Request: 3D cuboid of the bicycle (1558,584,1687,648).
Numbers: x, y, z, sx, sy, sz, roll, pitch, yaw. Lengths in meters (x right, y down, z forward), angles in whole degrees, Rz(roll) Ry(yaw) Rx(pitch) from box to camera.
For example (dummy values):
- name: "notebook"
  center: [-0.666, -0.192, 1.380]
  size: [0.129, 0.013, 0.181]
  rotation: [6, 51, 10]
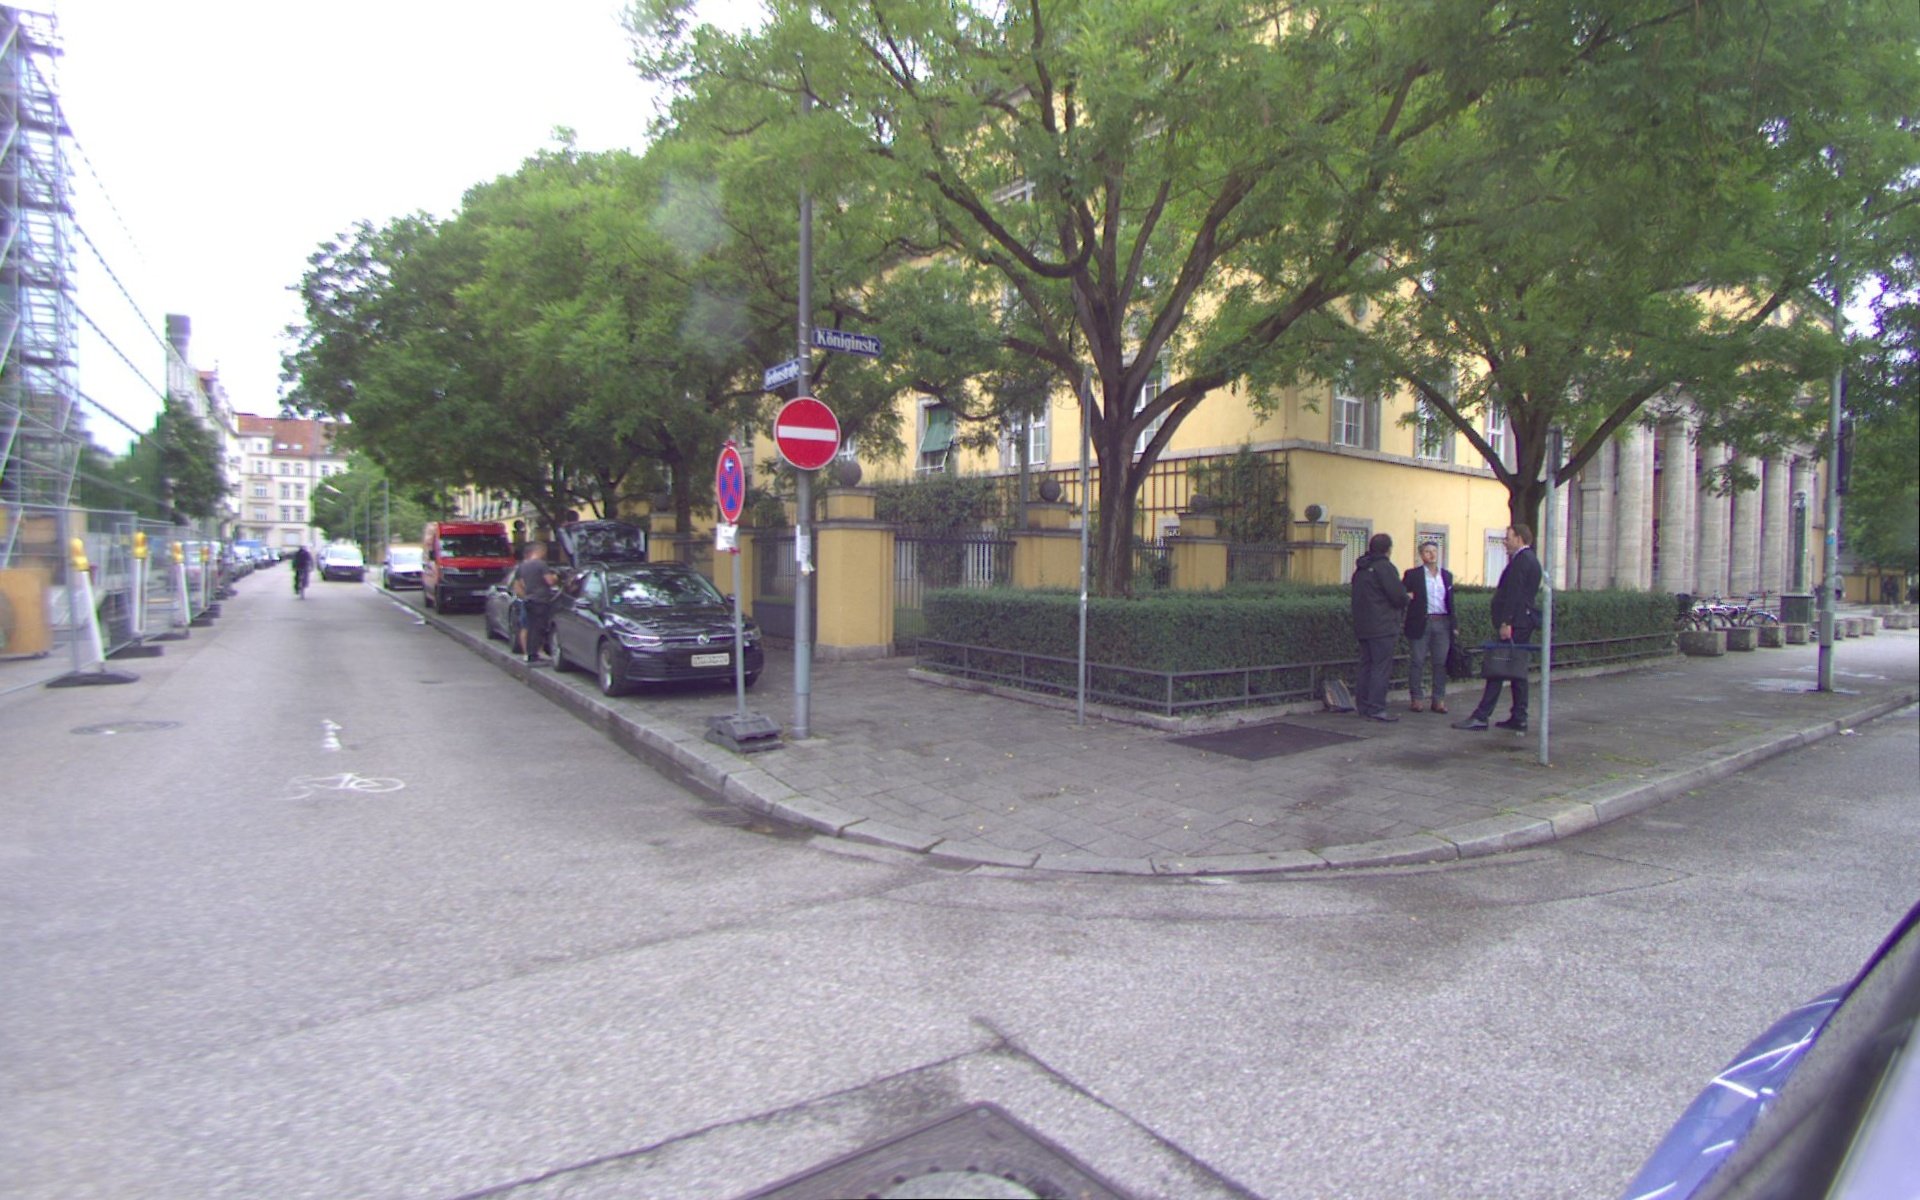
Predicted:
- name: "bicycle"
  center: [13.029, 0.288, 19.967]
  size: [0.463, 1.127, 2.036]
  rotation: [0, 3, -41]

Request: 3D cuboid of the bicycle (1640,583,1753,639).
- name: "bicycle"
  center: [16.413, 0.221, 22.605]
  size: [0.462, 1.127, 1.938]
  rotation: [0, 3, -36]

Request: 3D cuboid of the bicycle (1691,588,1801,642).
- name: "bicycle"
  center: [18.313, 0.331, 23.629]
  size: [0.463, 1.127, 1.936]
  rotation: [0, 3, -40]

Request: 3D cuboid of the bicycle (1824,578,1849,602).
- name: "bicycle"
  center: [48.080, -0.559, 55.511]
  size: [2.126, 1.323, 0.601]
  rotation: [-1, 3, -39]

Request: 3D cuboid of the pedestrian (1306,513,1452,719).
- name: "pedestrian"
  center: [4.088, 0.139, 9.942]
  size: [1.035, 1.931, 0.745]
  rotation: [1, 2, -3]

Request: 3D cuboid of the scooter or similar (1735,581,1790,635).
- name: "scooter or similar"
  center: [19.327, 0.172, 24.390]
  size: [0.528, 1.237, 1.011]
  rotation: [2, 2, 6]

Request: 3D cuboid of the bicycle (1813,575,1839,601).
- name: "bicycle"
  center: [46.278, -0.653, 54.058]
  size: [2.223, 1.323, 0.601]
  rotation: [-1, 3, -39]

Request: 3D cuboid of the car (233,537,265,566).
- name: "car"
  center: [-59.573, -4.040, 84.853]
  size: [1.961, 2.143, 4.525]
  rotation: [-1, 0, -33]

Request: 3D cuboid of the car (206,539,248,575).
- name: "car"
  center: [-48.072, -2.764, 66.437]
  size: [1.961, 2.143, 4.525]
  rotation: [-1, 0, -33]

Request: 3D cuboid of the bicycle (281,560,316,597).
- name: "bicycle"
  center: [-22.122, -0.712, 33.887]
  size: [0.747, 1.157, 2.265]
  rotation: [-1, 0, -27]

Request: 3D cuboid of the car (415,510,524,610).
- name: "car"
  center: [-13.798, -1.128, 28.268]
  size: [2.112, 2.492, 5.701]
  rotation: [-1, 3, -32]

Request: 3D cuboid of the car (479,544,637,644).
- name: "car"
  center: [-7.056, -0.186, 17.510]
  size: [1.833, 1.504, 4.009]
  rotation: [-1, 3, -32]

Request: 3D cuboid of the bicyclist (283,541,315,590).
- name: "bicyclist"
  center: [-22.091, -1.149, 33.833]
  size: [0.794, 1.595, 0.978]
  rotation: [0, 0, -28]

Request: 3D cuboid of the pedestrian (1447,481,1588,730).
- name: "pedestrian"
  center: [5.164, 0.030, 9.371]
  size: [1.037, 2.161, 0.744]
  rotation: [0, 2, -39]

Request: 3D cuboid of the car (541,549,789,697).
- name: "car"
  center: [-3.820, 0.137, 12.578]
  size: [1.833, 1.504, 4.222]
  rotation: [-1, 3, -33]

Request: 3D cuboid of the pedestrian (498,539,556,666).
- name: "pedestrian"
  center: [-6.211, 0.015, 14.515]
  size: [0.559, 1.773, 0.581]
  rotation: [3, 3, 42]

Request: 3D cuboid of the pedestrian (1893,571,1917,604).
- name: "pedestrian"
  center: [52.372, -0.710, 56.073]
  size: [1.037, 1.767, 0.790]
  rotation: [0, 3, -39]

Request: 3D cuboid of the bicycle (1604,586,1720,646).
- name: "bicycle"
  center: [14.778, 0.315, 21.363]
  size: [0.462, 1.127, 1.938]
  rotation: [0, 3, -36]

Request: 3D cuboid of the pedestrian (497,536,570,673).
- name: "pedestrian"
  center: [-5.908, 0.036, 14.026]
  size: [0.667, 1.831, 0.677]
  rotation: [2, 3, 33]

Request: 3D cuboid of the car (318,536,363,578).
- name: "car"
  center: [-33.732, -2.305, 55.055]
  size: [1.961, 2.106, 4.001]
  rotation: [-1, 0, -33]

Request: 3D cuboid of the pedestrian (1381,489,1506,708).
- name: "pedestrian"
  center: [5.072, -0.035, 10.614]
  size: [1.037, 2.161, 0.744]
  rotation: [0, 2, -39]

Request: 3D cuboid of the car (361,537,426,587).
- name: "car"
  center: [-24.120, -1.610, 43.039]
  size: [1.962, 2.038, 4.000]
  rotation: [0, 2, -36]
